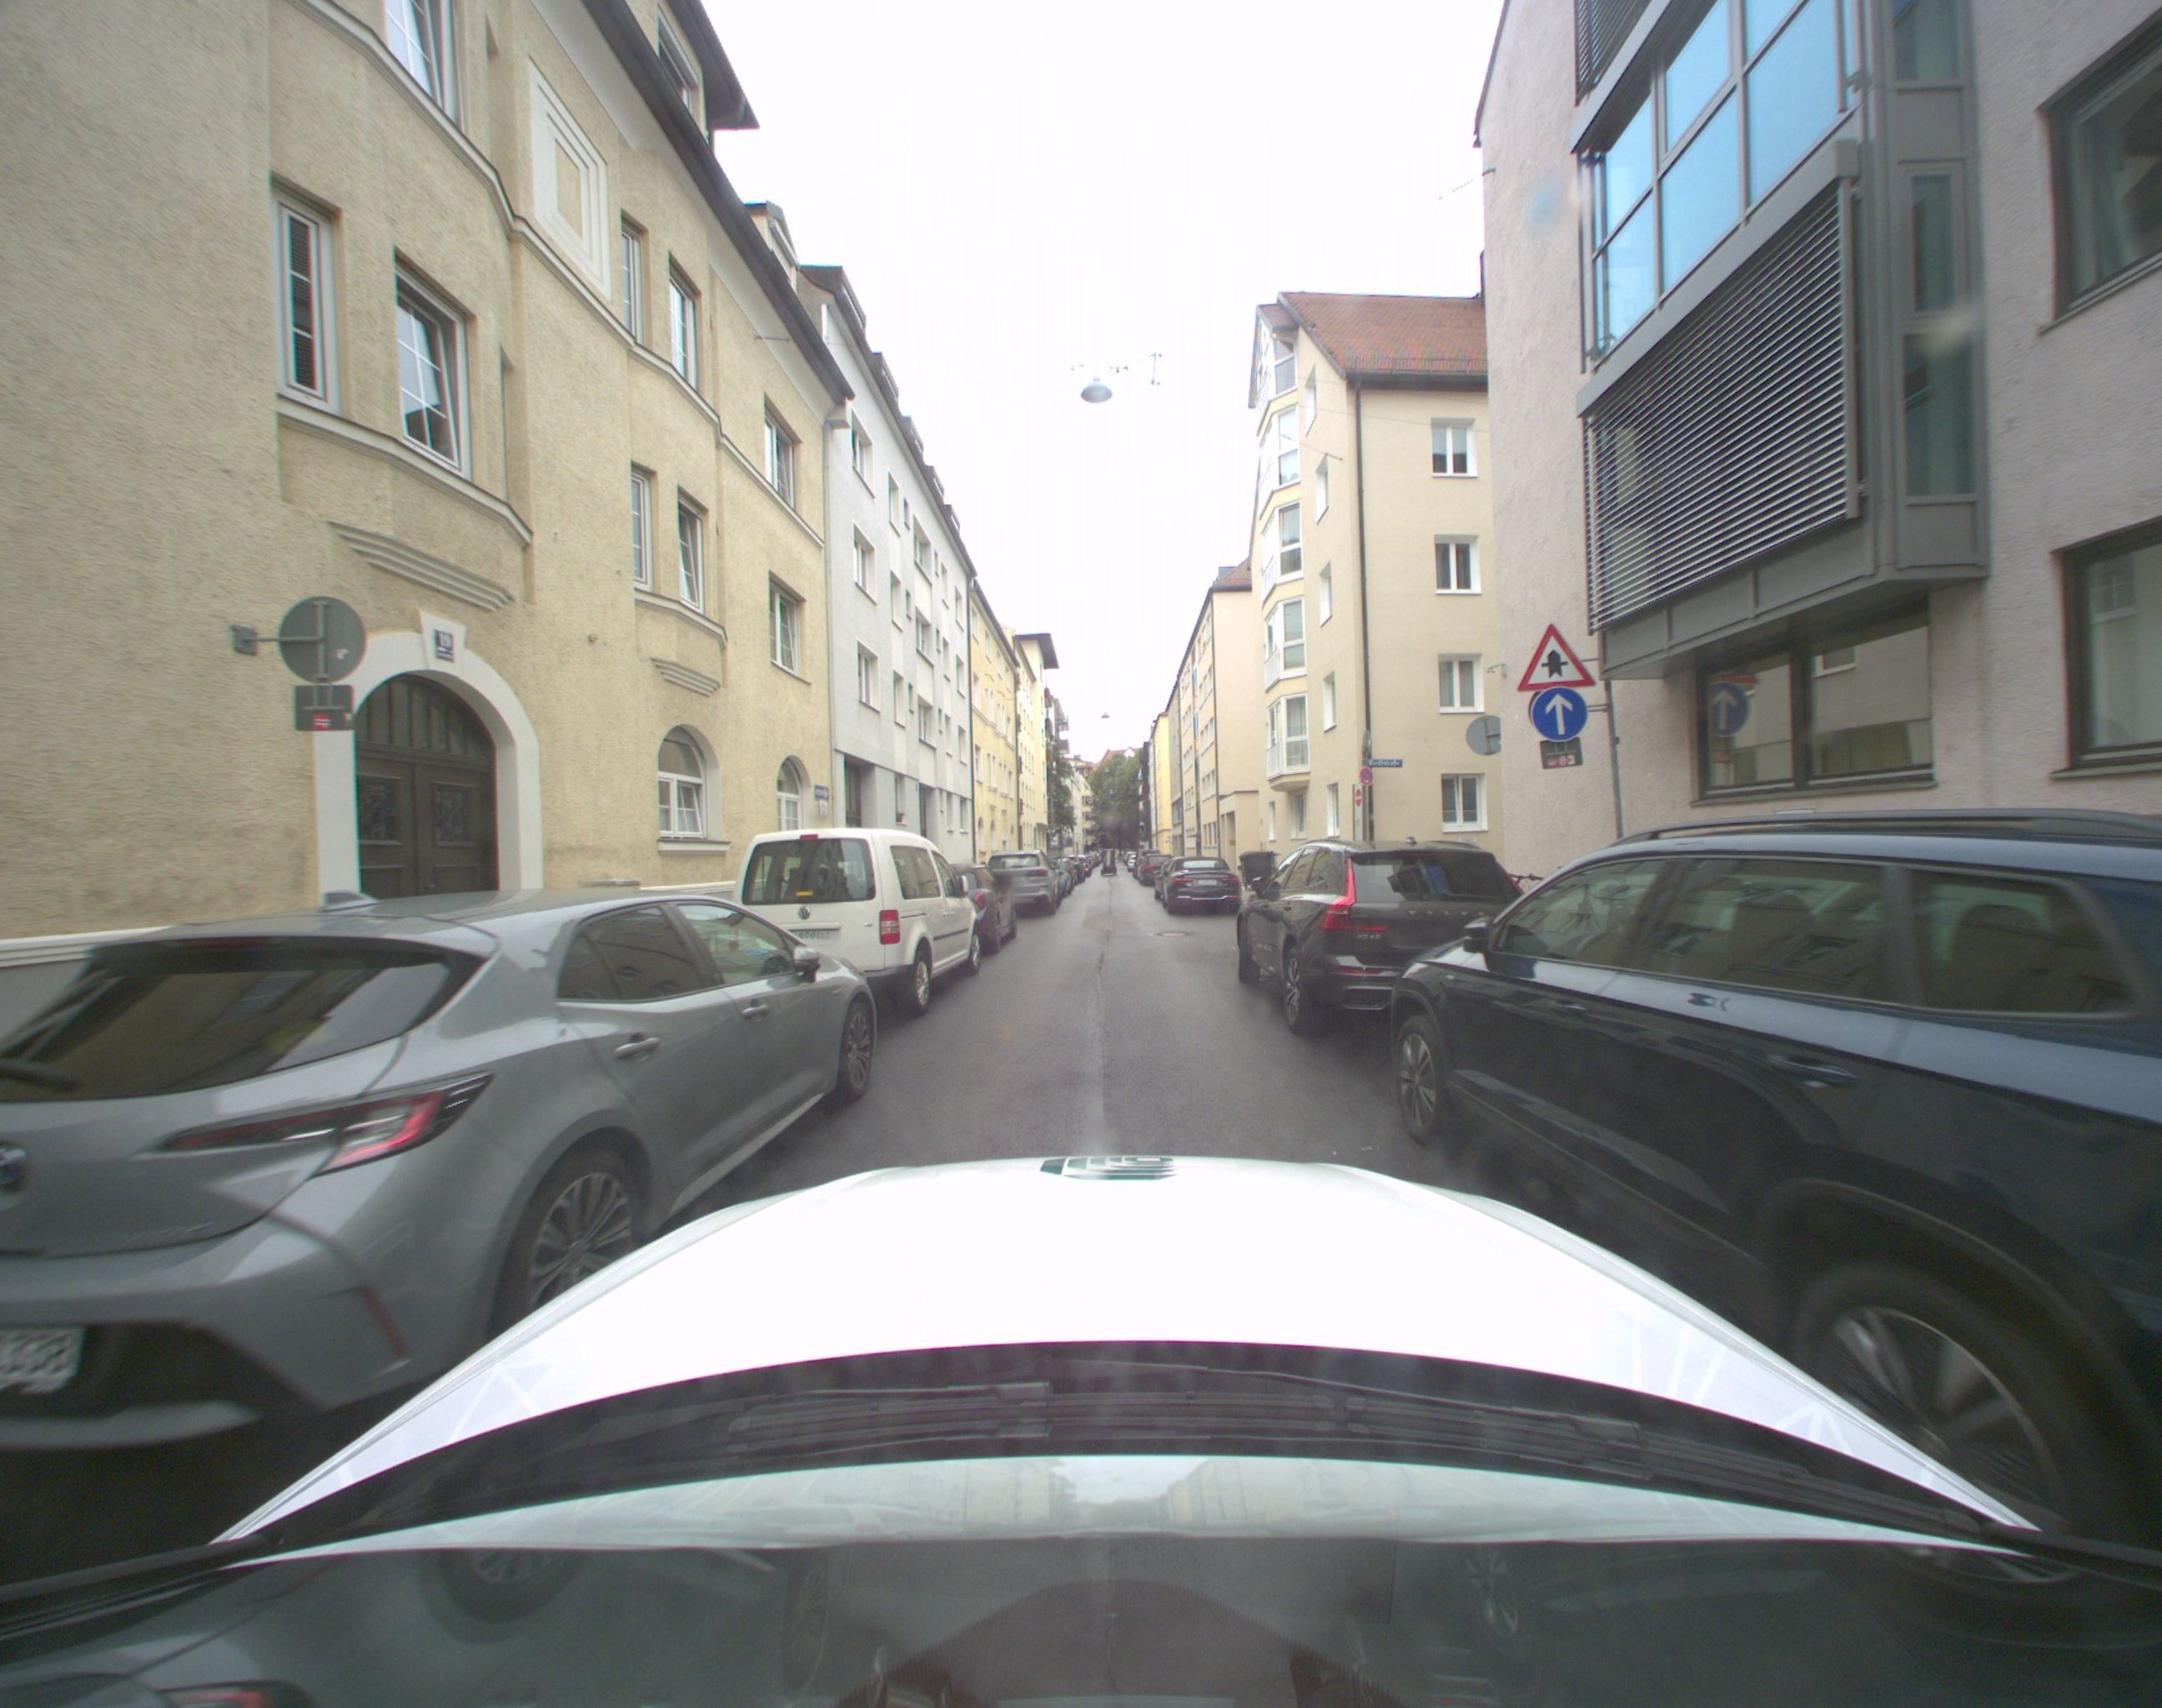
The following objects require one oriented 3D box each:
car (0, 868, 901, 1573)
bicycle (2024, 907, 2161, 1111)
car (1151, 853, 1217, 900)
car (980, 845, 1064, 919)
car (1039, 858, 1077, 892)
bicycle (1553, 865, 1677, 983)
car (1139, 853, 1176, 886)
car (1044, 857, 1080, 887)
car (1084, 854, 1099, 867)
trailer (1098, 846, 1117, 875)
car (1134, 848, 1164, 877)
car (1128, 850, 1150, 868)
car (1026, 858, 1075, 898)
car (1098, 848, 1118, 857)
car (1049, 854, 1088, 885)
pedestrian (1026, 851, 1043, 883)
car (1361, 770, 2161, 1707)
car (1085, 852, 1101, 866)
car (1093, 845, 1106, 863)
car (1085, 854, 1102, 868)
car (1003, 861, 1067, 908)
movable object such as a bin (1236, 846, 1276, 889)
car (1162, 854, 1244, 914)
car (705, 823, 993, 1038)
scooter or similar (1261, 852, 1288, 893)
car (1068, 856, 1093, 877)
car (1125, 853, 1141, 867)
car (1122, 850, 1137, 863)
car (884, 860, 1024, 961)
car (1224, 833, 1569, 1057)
[{"bbox_3d":[-2.265,0.856,3.838,1.665,1.475,4.114,-4,-1,3],"label":"car"},{"bbox_3d":[5.494,0.782,3.788,0.439,0.947,1.578,-2,0,3],"label":"bicycle"},{"bbox_3d":[3.442,0.726,27.943,1.711,1.471,4.531,0,0,0],"label":"car"},{"bbox_3d":[-1.551,0.730,23.012,1.856,1.770,4.736,-4,0,1],"label":"car"},{"bbox_3d":[-1.037,0.952,38.465,1.557,1.460,3.764,-2,0,1],"label":"car"},{"bbox_3d":[5.698,0.701,8.775,0.355,1.122,1.544,-2,0,3],"label":"bicycle"},{"bbox_3d":[3.997,0.793,43.082,1.705,1.608,4.246,-1,0,2],"label":"car"},{"bbox_3d":[-0.967,0.917,43.664,1.556,1.460,3.479,-2,0,4],"label":"car"},{"bbox_3d":[1.290,0.730,96.349,1.687,1.442,3.978,-3,0,1],"label":"car"},{"bbox_3d":[2.042,0.474,62.461,1.350,2.116,3.320,-2,-1,3],"label":"trailer"},{"bbox_3d":[4.855,0.547,58.517,1.745,1.975,4.343,1,0,0],"label":"car"},{"bbox_3d":[5.201,0.429,73.501,1.812,1.408,3.954,-1,3,1],"label":"car"},{"bbox_3d":[-1.191,0.923,32.800,1.556,1.460,3.408,-2,0,4],"label":"car"},{"bbox_3d":[5.423,-0.292,163.589,3.872,1.584,1.648,-4,0,1],"label":"car"},{"bbox_3d":[-0.674,0.880,48.470,1.871,1.660,4.419,-2,0,4],"label":"car"},{"bbox_3d":[-2.625,0.699,45.851,0.836,1.764,1.068,-1,0,2],"label":"pedestrian"},{"bbox_3d":[2.593,0.682,2.839,1.826,1.621,4.325,0,0,1],"label":"car"},{"bbox_3d":[1.521,0.625,102.230,1.770,1.629,4.417,-3,0,2],"label":"car"},{"bbox_3d":[3.059,-0.048,135.174,1.929,2.801,4.535,-4,0,2],"label":"car"},{"bbox_3d":[1.378,0.761,88.663,1.686,1.442,3.945,-3,0,3],"label":"car"},{"bbox_3d":[-1.495,0.979,28.011,1.805,1.386,4.251,-4,-1,1],"label":"car"},{"bbox_3d":[6.181,0.471,28.891,1.028,1.423,1.587,-4,-1,2],"label":"movable object such as a bin"},{"bbox_3d":[3.125,0.730,21.540,1.824,1.406,4.416,-1,0,4],"label":"car"},{"bbox_3d":[-2.269,0.684,9.255,1.716,1.789,4.253,-4,-1,4],"label":"car"},{"bbox_3d":[6.283,0.593,26.483,0.574,1.266,1.137,-3,-1,2],"label":"scooter or similar"},{"bbox_3d":[-0.031,0.934,60.656,1.645,1.435,3.805,-2,0,3],"label":"car"},{"bbox_3d":[5.943,0.640,93.383,1.744,1.469,4.345,1,0,2],"label":"car"},{"bbox_3d":[6.139,0.340,103.578,1.676,1.567,4.415,1,0,0],"label":"car"},{"bbox_3d":[-2.043,0.879,14.075,1.646,1.411,3.736,-4,-1,2],"label":"car"},{"bbox_3d":[2.685,0.679,8.147,1.826,1.621,4.412,0,0,1],"label":"car"}]
